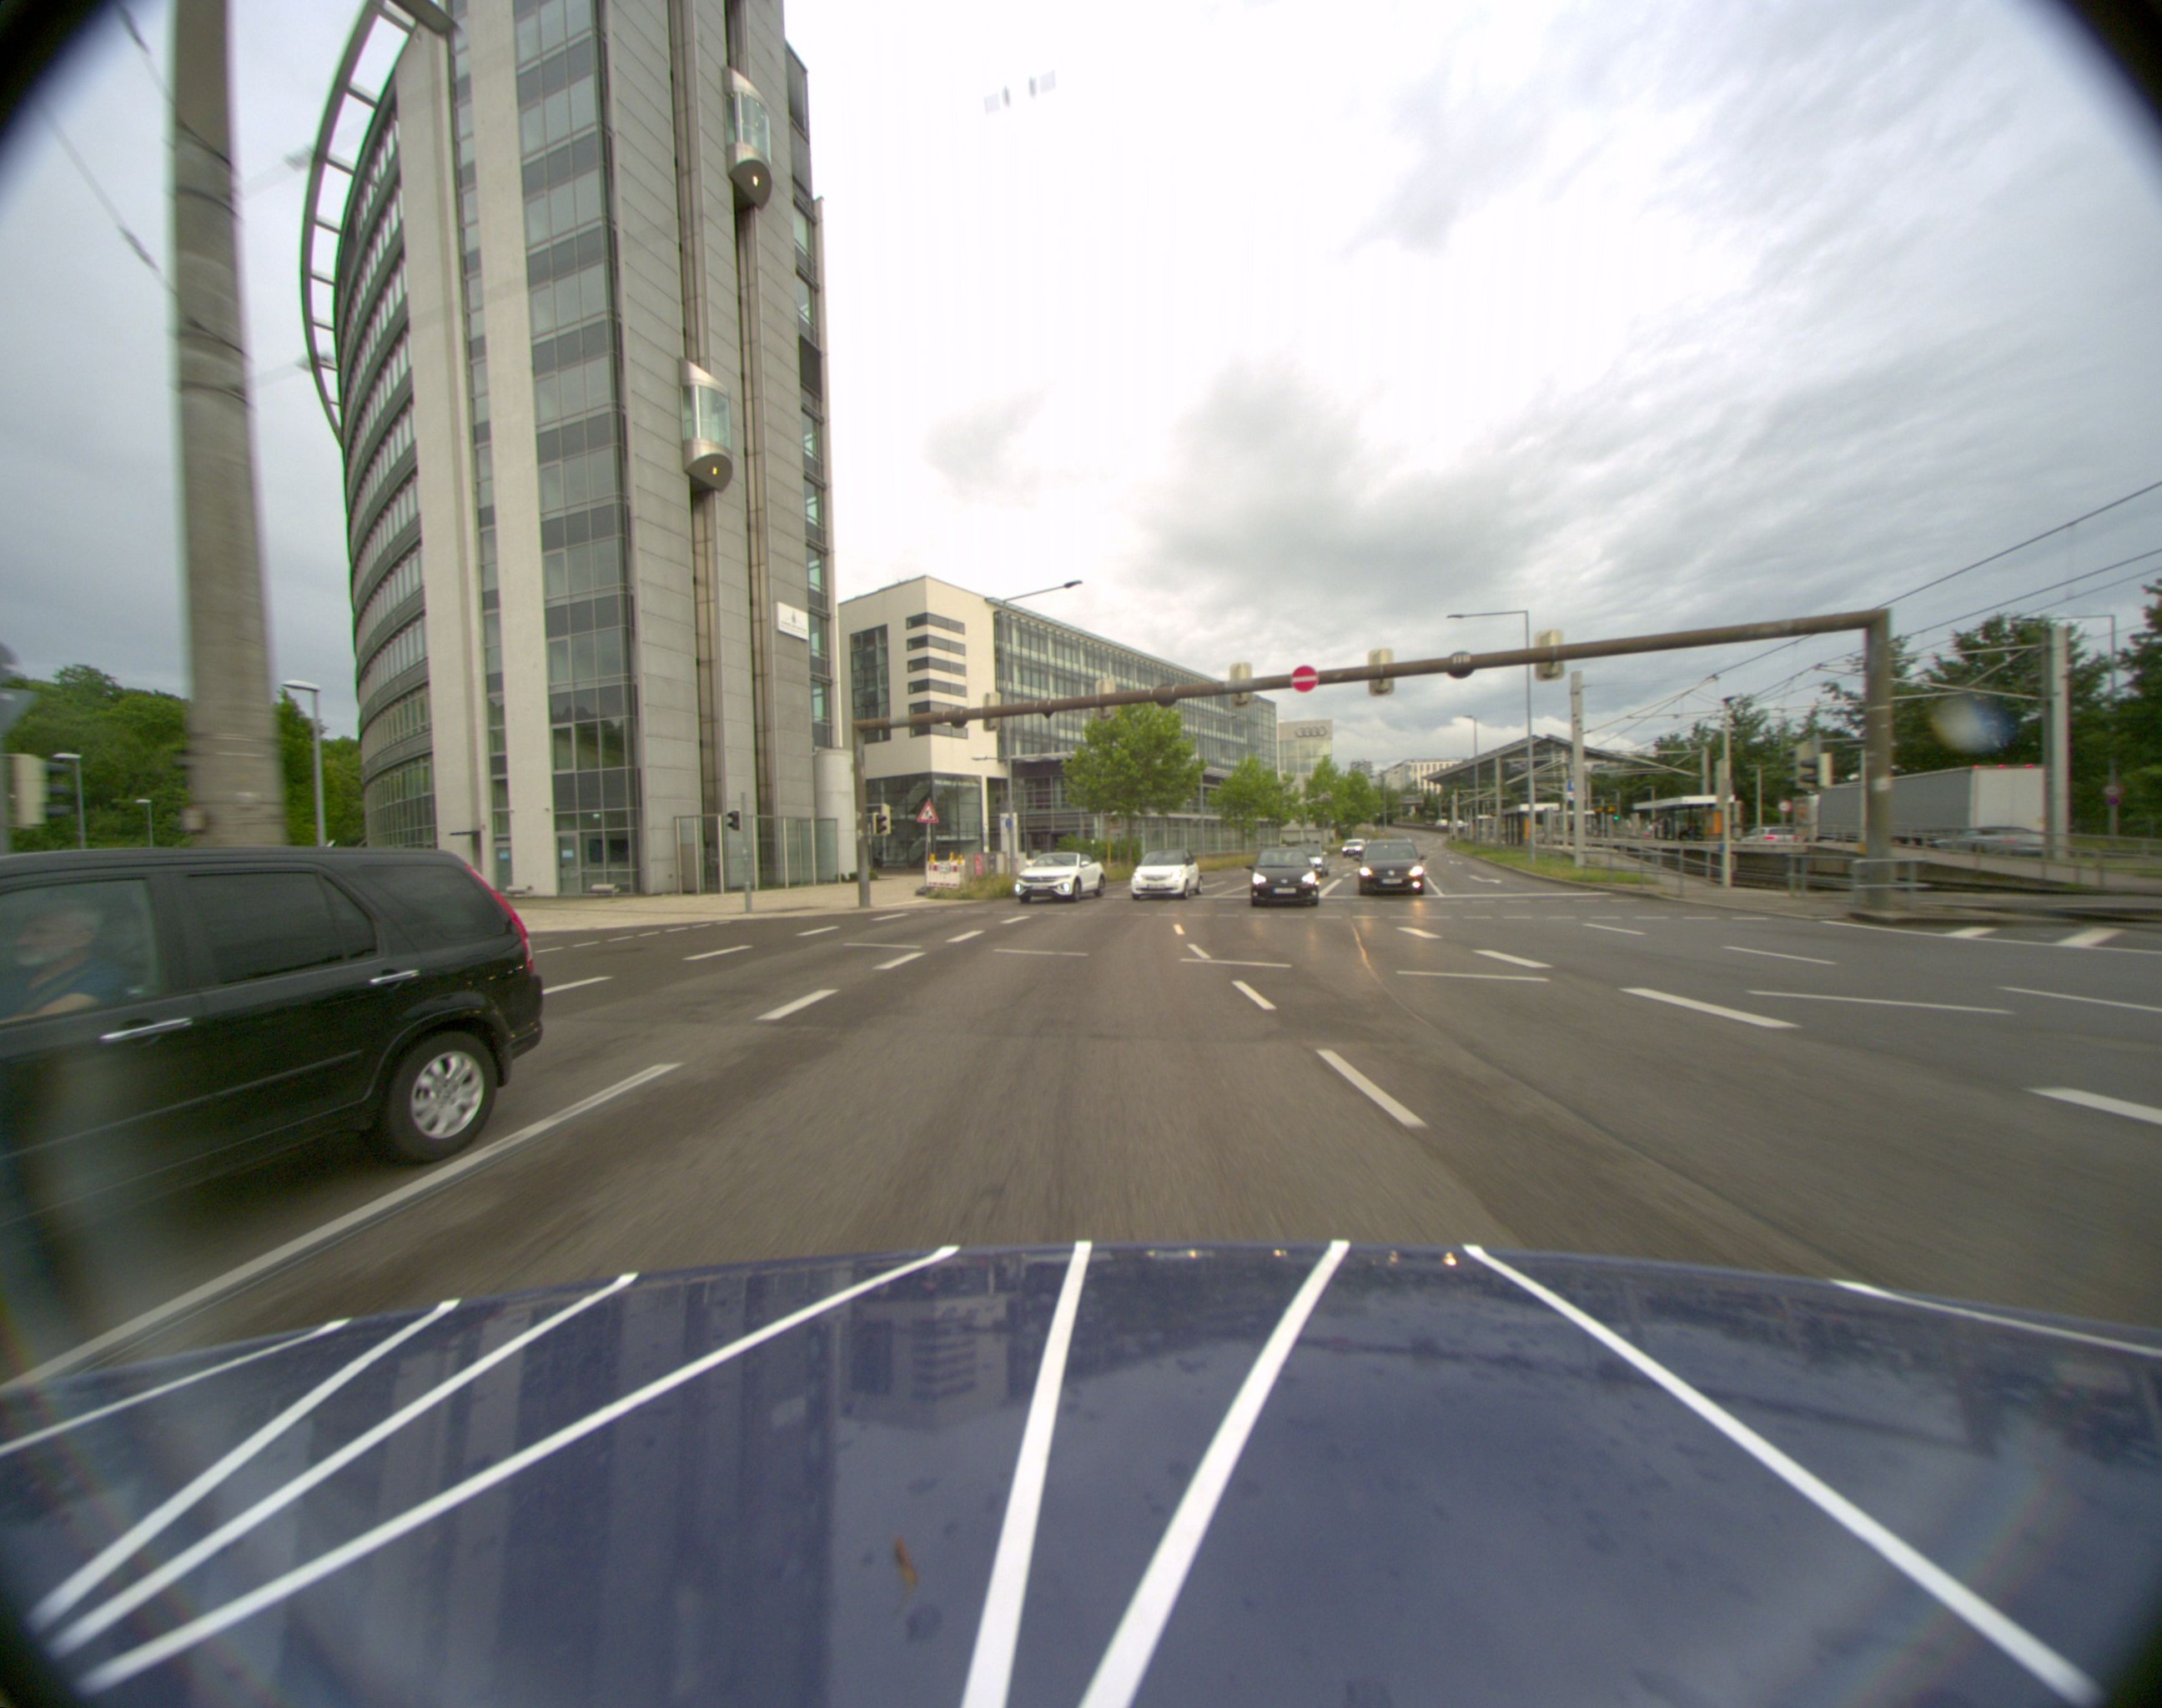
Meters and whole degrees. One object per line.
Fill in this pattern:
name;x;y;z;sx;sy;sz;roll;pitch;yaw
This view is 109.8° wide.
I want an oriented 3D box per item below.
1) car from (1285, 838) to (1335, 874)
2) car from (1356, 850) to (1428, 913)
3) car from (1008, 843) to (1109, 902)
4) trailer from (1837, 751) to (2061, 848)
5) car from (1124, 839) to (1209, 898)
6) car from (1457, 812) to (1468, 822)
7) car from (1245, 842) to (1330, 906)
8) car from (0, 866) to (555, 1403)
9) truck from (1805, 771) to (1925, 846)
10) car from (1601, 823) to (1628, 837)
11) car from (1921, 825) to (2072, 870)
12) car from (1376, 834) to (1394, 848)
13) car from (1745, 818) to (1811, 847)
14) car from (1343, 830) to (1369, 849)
car;10.671;0.063;35.284;1.737;1.469;4.006;-3;0;23
car;9.256;0.754;22.788;1.729;1.582;4.198;-4;0;21
car;-0.597;0.553;23.604;1.996;1.668;3.827;-2;-1;17
trailer;43.045;-2.433;38.422;2.797;4.083;11.460;-1;1;23
car;2.798;0.393;24.147;1.802;1.713;4.005;-1;1;19
car;93.351;-9.032;185.798;1.996;2.201;5.150;-4;1;23
car;5.610;0.478;20.363;1.694;1.514;3.910;-2;0;22
car;-4.275;0.947;2.578;1.770;1.620;4.325;-4;0;2
truck;45.696;-2.517;44.541;2.834;3.973;5.996;-1;1;24
car;64.445;-2.931;91.794;1.789;1.494;4.005;-4;1;24
car;36.219;-0.307;30.265;1.905;1.546;4.572;-4;0;23
car;38.097;-1.672;95.093;1.699;1.514;3.830;-2;2;28
car;44.001;-1.388;48.065;1.889;1.642;4.101;-4;1;25
car;27.910;-1.452;77.151;1.826;1.701;4.160;-3;1;28
